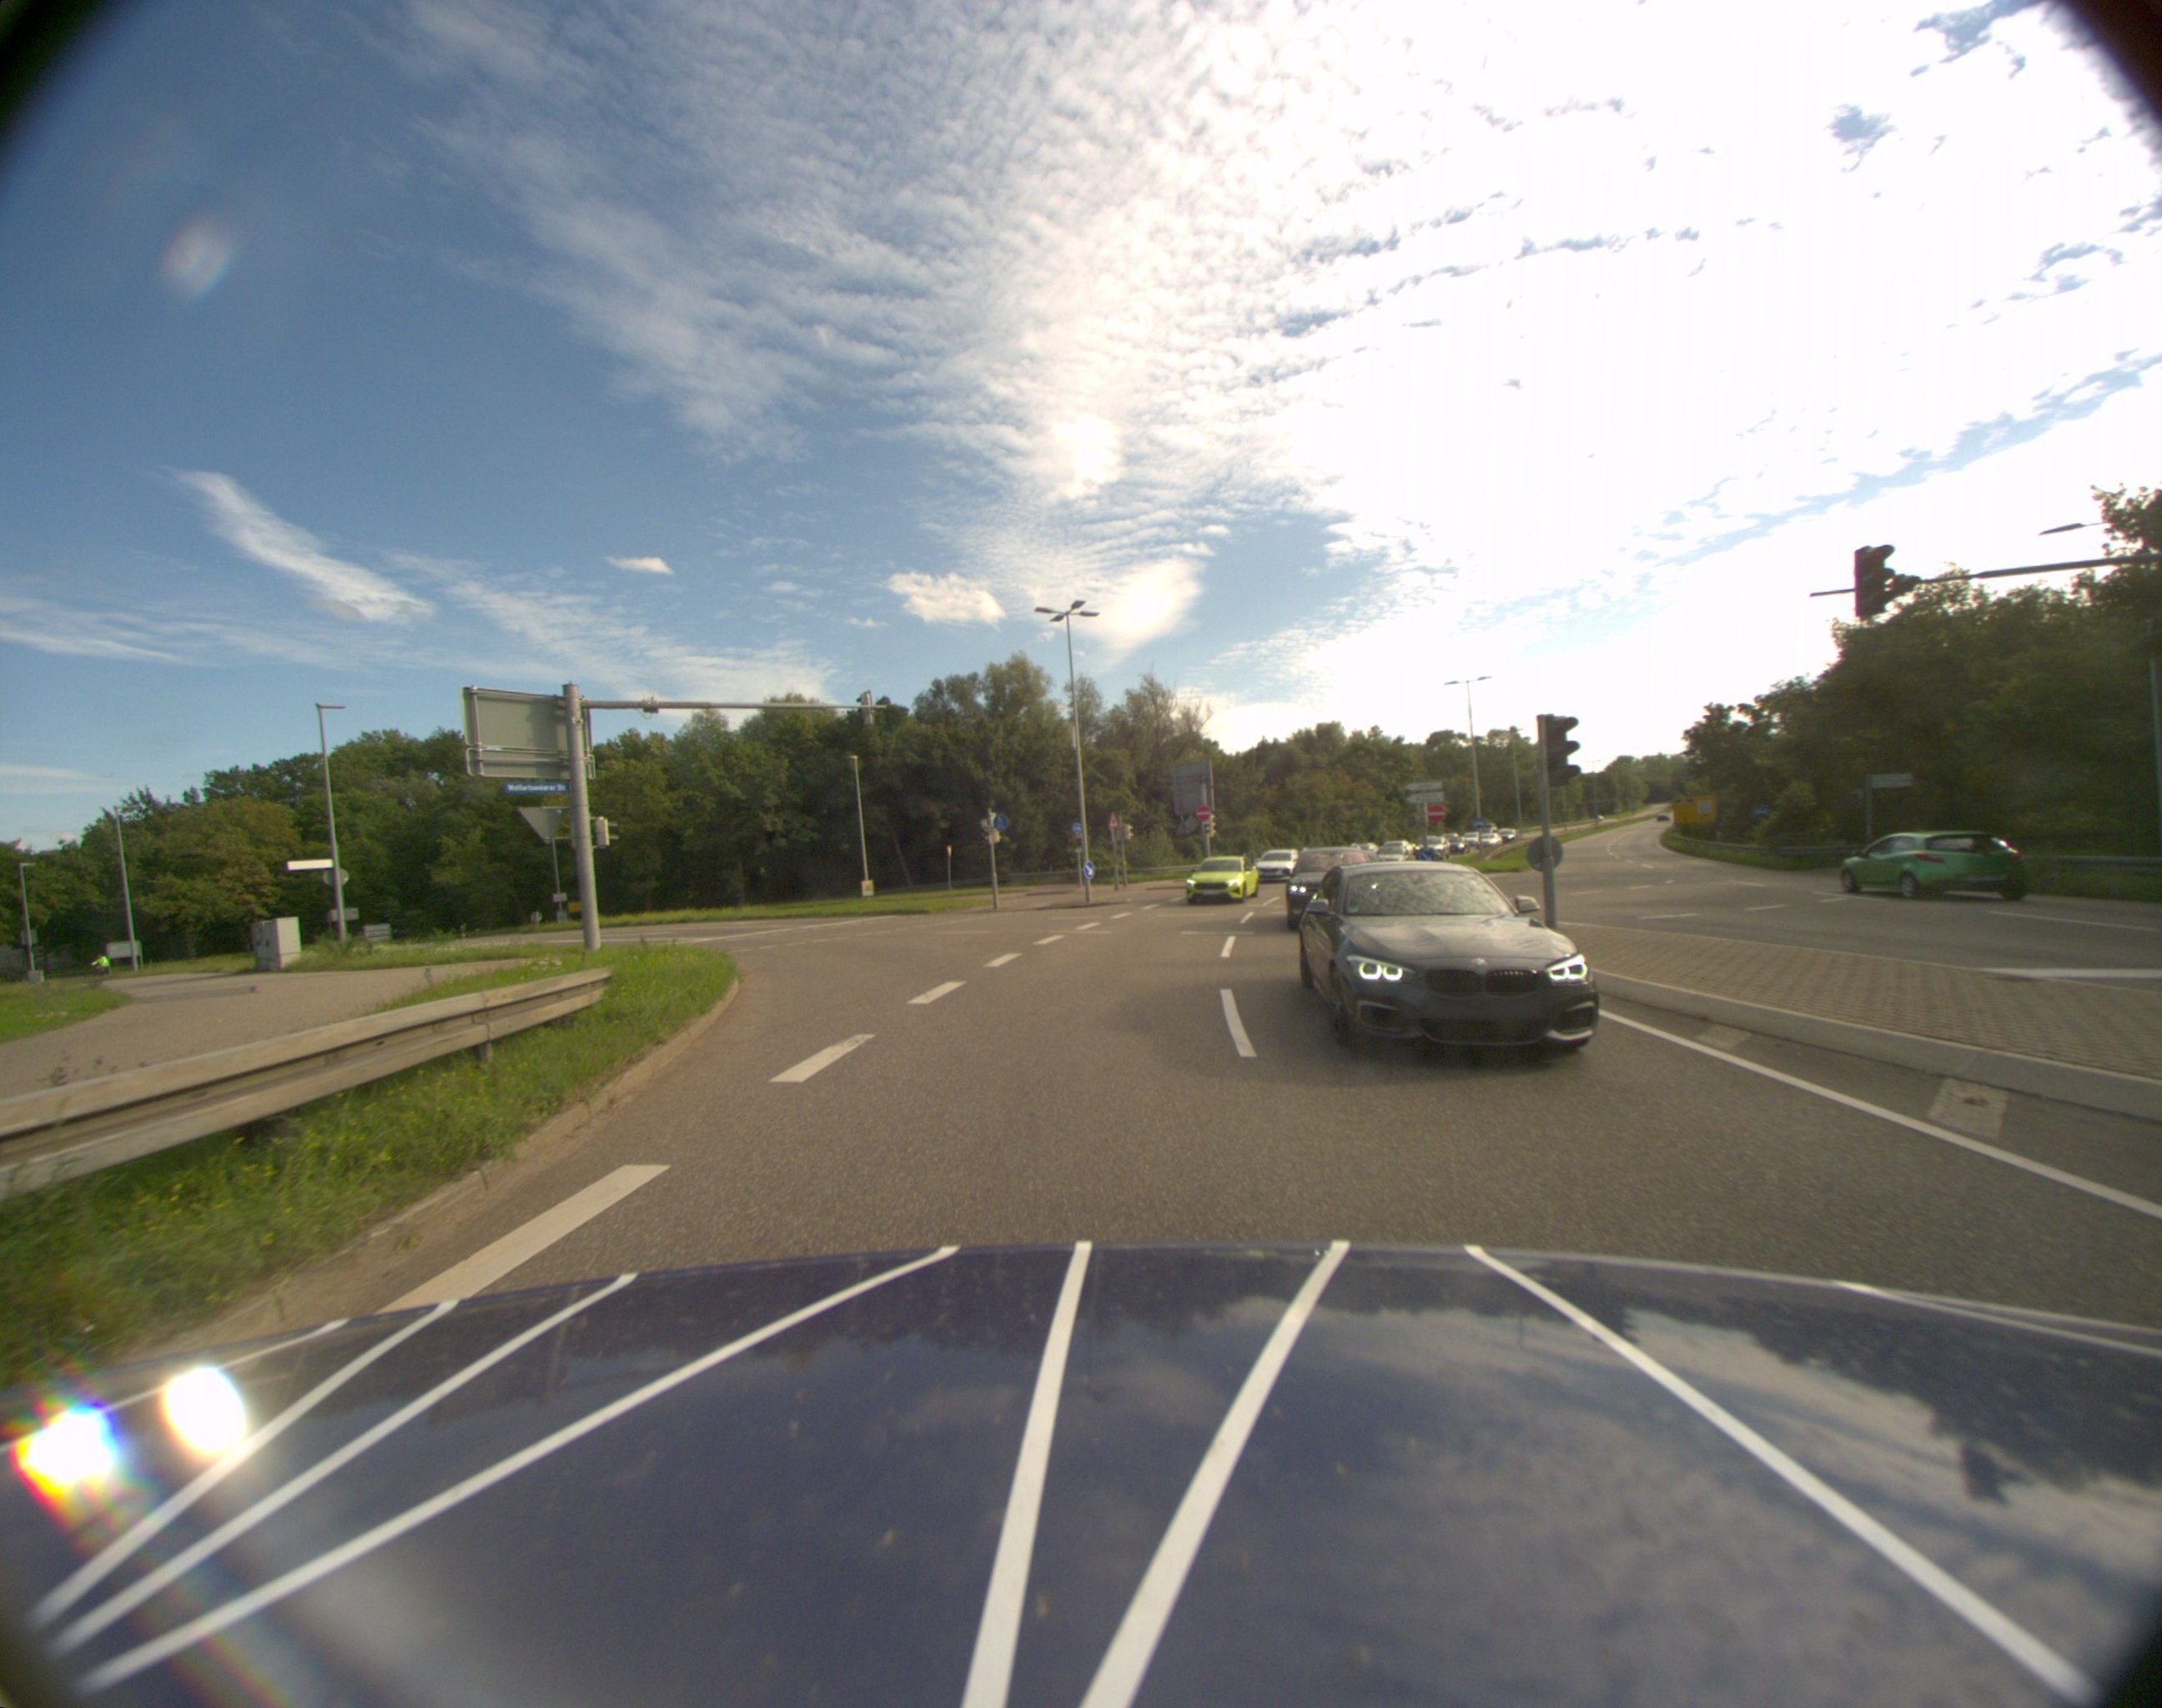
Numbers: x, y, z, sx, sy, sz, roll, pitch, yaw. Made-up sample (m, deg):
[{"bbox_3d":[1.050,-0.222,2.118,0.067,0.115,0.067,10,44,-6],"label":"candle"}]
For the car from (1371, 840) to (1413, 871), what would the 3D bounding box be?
[{"bbox_3d":[17.184,0.060,41.882,1.637,1.543,3.747,-2,0,30],"label":"car"}]

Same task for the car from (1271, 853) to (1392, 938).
[{"bbox_3d":[5.201,0.777,16.340,1.817,1.498,4.394,-2,0,10],"label":"car"}]

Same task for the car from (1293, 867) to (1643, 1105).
[{"bbox_3d":[3.015,0.891,6.875,1.784,1.396,3.974,-2,0,11],"label":"car"}]

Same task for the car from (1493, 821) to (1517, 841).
[{"bbox_3d":[45.074,-2.445,80.713,1.995,2.002,4.007,-2,1,31],"label":"car"}]

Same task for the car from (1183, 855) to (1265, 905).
[{"bbox_3d":[4.803,0.813,25.033,1.816,1.396,4.397,-2,0,21],"label":"car"}]

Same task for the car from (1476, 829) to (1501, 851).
[{"bbox_3d":[39.263,-1.332,73.174,1.995,2.002,4.007,-2,1,30],"label":"car"}]

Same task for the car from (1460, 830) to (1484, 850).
[{"bbox_3d":[42.439,-1.559,82.438,1.995,2.002,4.007,-2,1,31],"label":"car"}]

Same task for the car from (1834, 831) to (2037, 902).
[{"bbox_3d":[19.006,0.244,17.134,1.637,1.396,3.746,-2,0,24],"label":"car"}]

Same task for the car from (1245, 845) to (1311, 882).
[{"bbox_3d":[9.179,0.401,35.212,1.995,1.543,4.007,-2,1,29],"label":"car"}]

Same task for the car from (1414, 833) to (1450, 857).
[{"bbox_3d":[25.381,-0.648,54.901,1.995,1.591,4.288,-2,1,29],"label":"car"}]

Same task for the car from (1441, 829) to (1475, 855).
[{"bbox_3d":[31.574,-1.024,63.612,1.995,2.002,4.280,-2,1,33],"label":"car"}]
